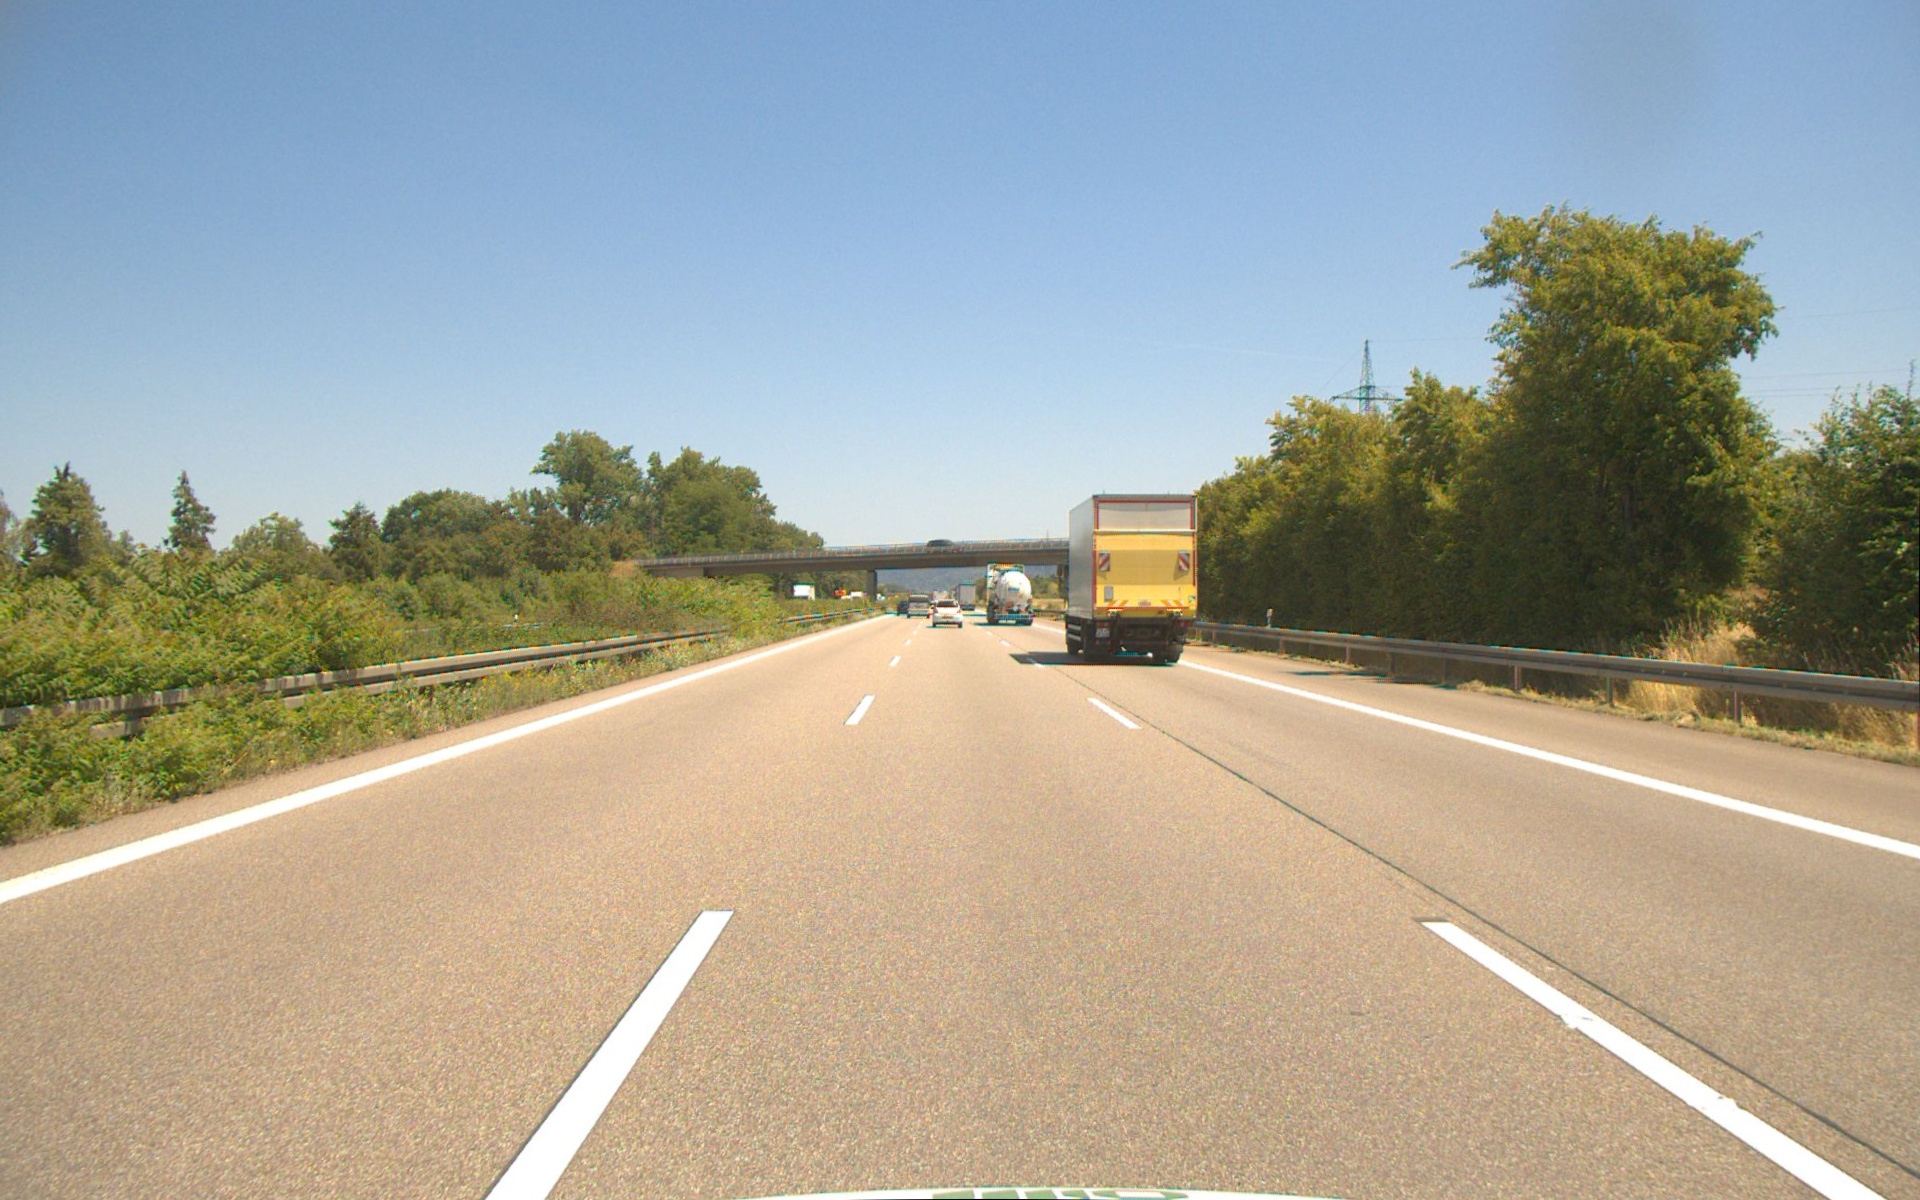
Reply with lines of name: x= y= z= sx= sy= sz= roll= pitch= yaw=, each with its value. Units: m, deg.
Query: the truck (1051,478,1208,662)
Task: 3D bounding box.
truck: x=4.290 y=-0.713 z=44.350 sx=2.874 sy=4.273 sz=10.679 roll=1 pitch=0 yaw=-1

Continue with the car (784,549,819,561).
car: x=-18.918 y=-5.387 z=197.579 sx=3.917 sy=1.411 sz=1.835 roll=1 pitch=0 yaw=34

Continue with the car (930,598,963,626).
car: x=-0.740 y=0.642 z=92.324 sx=1.770 sy=1.494 sz=3.999 roll=1 pitch=0 yaw=-1

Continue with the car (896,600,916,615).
car: x=-5.209 y=0.694 z=159.757 sx=1.798 sy=1.411 sz=3.999 roll=1 pitch=0 yaw=-1

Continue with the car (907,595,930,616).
car: x=-3.462 y=0.445 z=137.827 sx=1.814 sy=1.661 sz=3.999 roll=1 pitch=0 yaw=-1

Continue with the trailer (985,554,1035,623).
trailer: x=3.108 y=-0.697 z=105.501 sx=2.527 sy=4.145 sz=11.100 roll=1 pitch=0 yaw=-1

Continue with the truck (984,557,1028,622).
truck: x=3.015 y=-0.704 z=110.374 sx=2.521 sy=4.143 sz=6.391 roll=1 pitch=0 yaw=-1

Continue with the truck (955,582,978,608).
truck: x=0.954 y=-0.797 z=255.431 sx=3.199 sy=3.925 sz=11.628 roll=1 pitch=0 yaw=-1
